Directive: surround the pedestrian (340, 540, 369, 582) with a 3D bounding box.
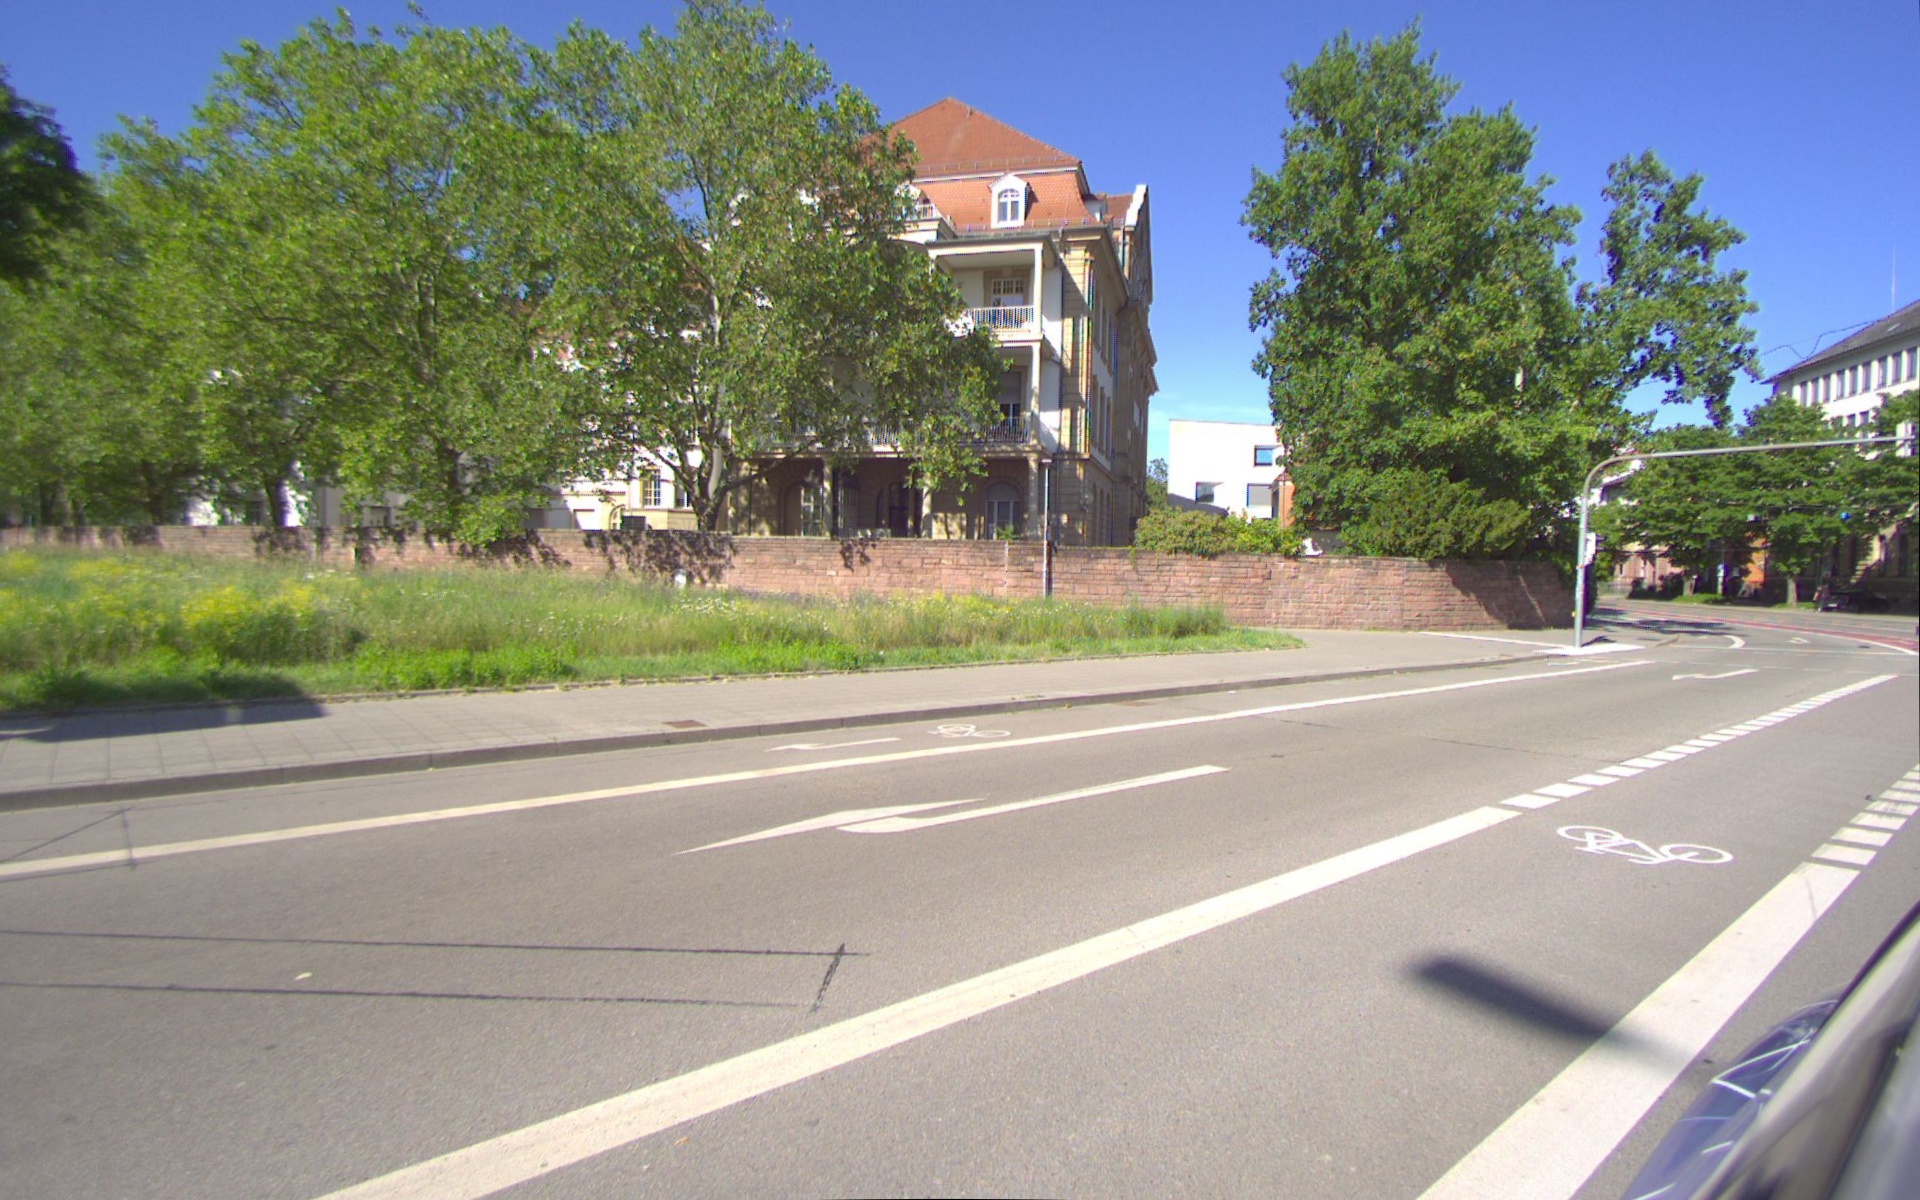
[{"bbox_3d":[-21.600,-1.374,36.098,0.516,1.461,0.721,0,0,20],"label":"pedestrian"}]

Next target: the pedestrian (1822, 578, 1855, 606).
[{"bbox_3d":[59.501,-0.575,68.551,1.366,1.844,0.937,1,1,4],"label":"pedestrian"}]

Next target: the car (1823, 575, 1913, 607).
[{"bbox_3d":[61.202,-0.643,68.254,4.615,2.038,2.004,1,2,-9],"label":"car"}]
